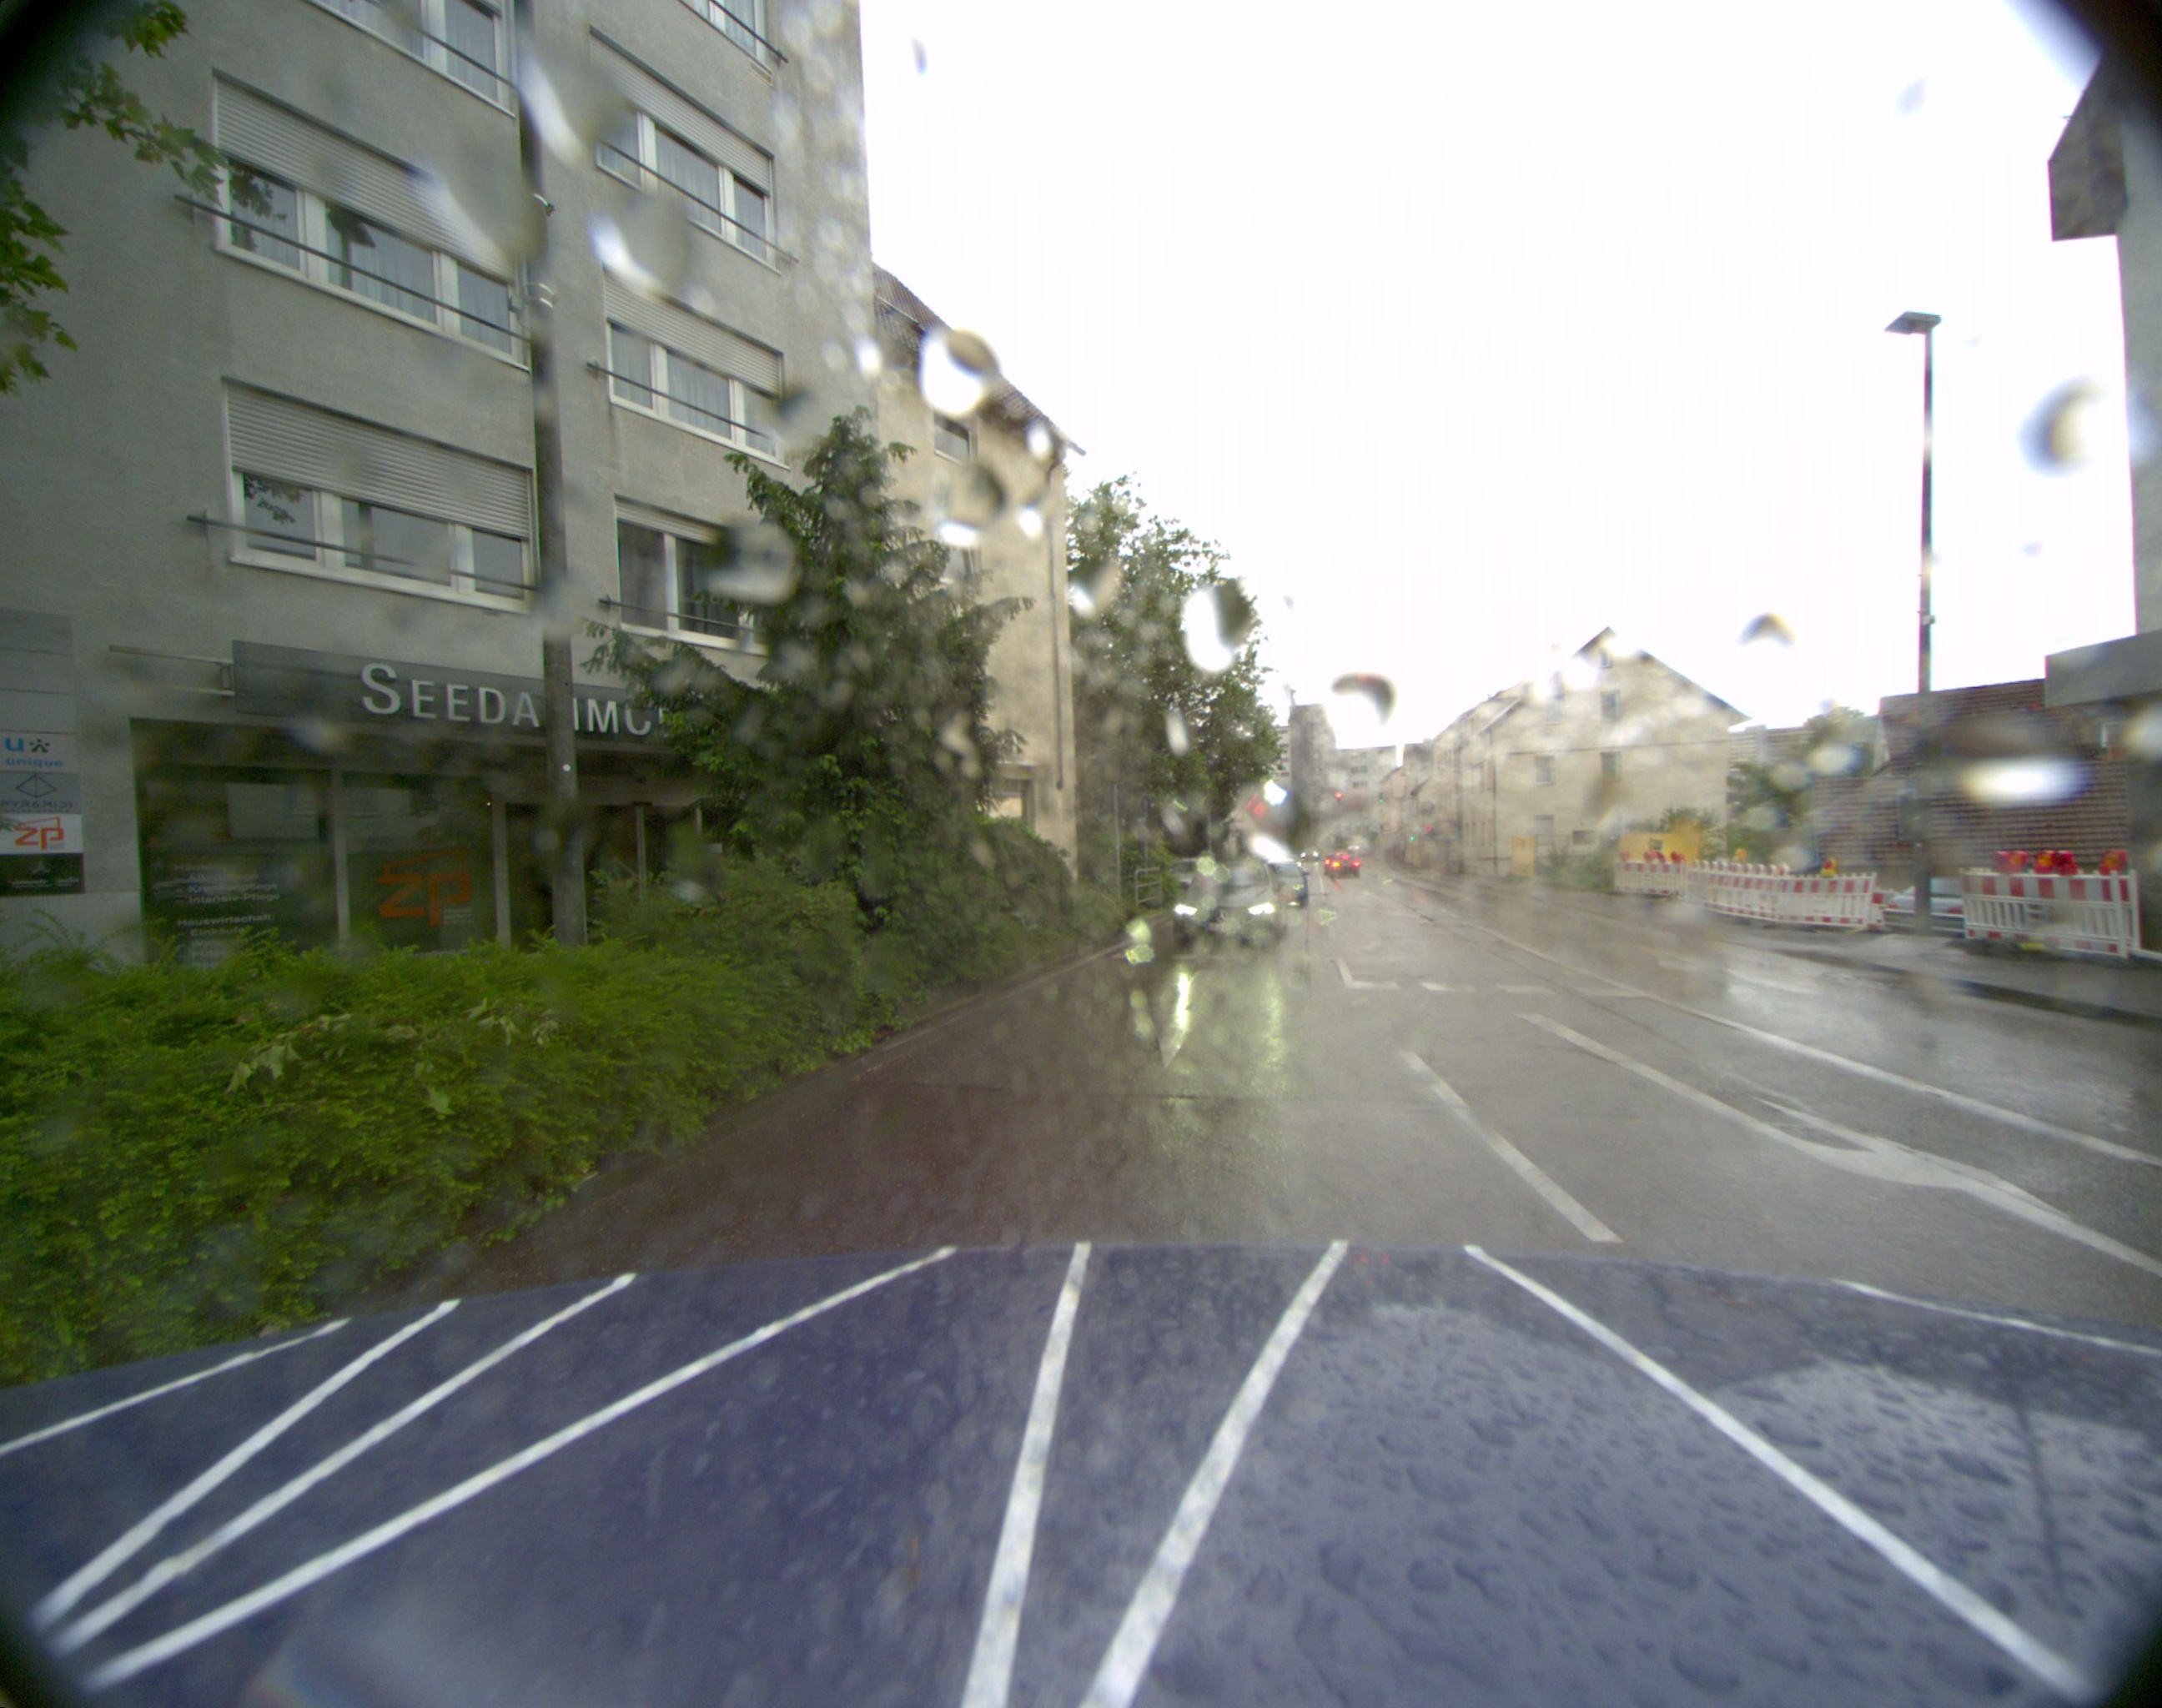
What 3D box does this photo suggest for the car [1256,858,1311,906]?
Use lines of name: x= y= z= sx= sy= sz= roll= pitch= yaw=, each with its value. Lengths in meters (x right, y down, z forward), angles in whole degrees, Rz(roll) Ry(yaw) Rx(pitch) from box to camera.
car: x=6.748 y=0.874 z=25.105 sx=1.639 sy=1.424 sz=3.810 roll=-1 pitch=0 yaw=17

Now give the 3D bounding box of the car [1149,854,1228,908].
car: x=4.044 y=0.924 z=27.800 sx=1.933 sy=1.770 sz=4.740 roll=-1 pitch=0 yaw=20

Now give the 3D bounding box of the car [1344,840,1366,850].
car: x=41.933 y=-1.390 z=116.249 sx=1.612 sy=1.495 sz=3.725 roll=-3 pitch=-1 yaw=44

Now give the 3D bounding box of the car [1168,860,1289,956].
car: x=3.050 y=0.953 z=14.950 sx=1.818 sy=1.562 sz=4.281 roll=-2 pitch=-1 yaw=17

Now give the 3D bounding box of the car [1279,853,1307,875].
car: x=15.683 y=0.724 z=56.086 sx=1.684 sy=1.452 sz=4.005 roll=-2 pitch=0 yaw=19

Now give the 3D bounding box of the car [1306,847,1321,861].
car: x=28.099 y=-0.037 z=91.870 sx=1.548 sy=1.525 sz=3.693 roll=-2 pitch=0 yaw=19

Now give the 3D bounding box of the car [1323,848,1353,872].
car: x=18.848 y=0.461 z=55.919 sx=1.818 sy=1.635 sz=4.281 roll=-2 pitch=-1 yaw=16

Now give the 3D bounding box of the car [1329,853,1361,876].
car: x=17.159 y=0.670 z=49.510 sx=1.709 sy=1.375 sz=3.674 roll=-2 pitch=0 yaw=16

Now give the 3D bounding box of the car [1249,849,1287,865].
car: x=19.115 y=0.274 z=77.549 sx=4.008 sy=1.452 sz=1.683 roll=-2 pitch=0 yaw=-42

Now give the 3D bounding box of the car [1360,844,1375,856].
car: x=38.894 y=-0.508 z=103.106 sx=1.817 sy=1.562 sz=4.282 roll=-1 pitch=0 yaw=22

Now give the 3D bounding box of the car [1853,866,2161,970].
car: x=16.403 y=1.081 z=13.433 sx=3.505 sy=1.382 sz=1.653 roll=6 pitch=-1 yaw=8

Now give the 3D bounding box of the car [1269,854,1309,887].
car: x=9.812 y=0.764 z=36.032 sx=1.685 sy=1.413 sz=4.004 roll=-2 pitch=0 yaw=14
